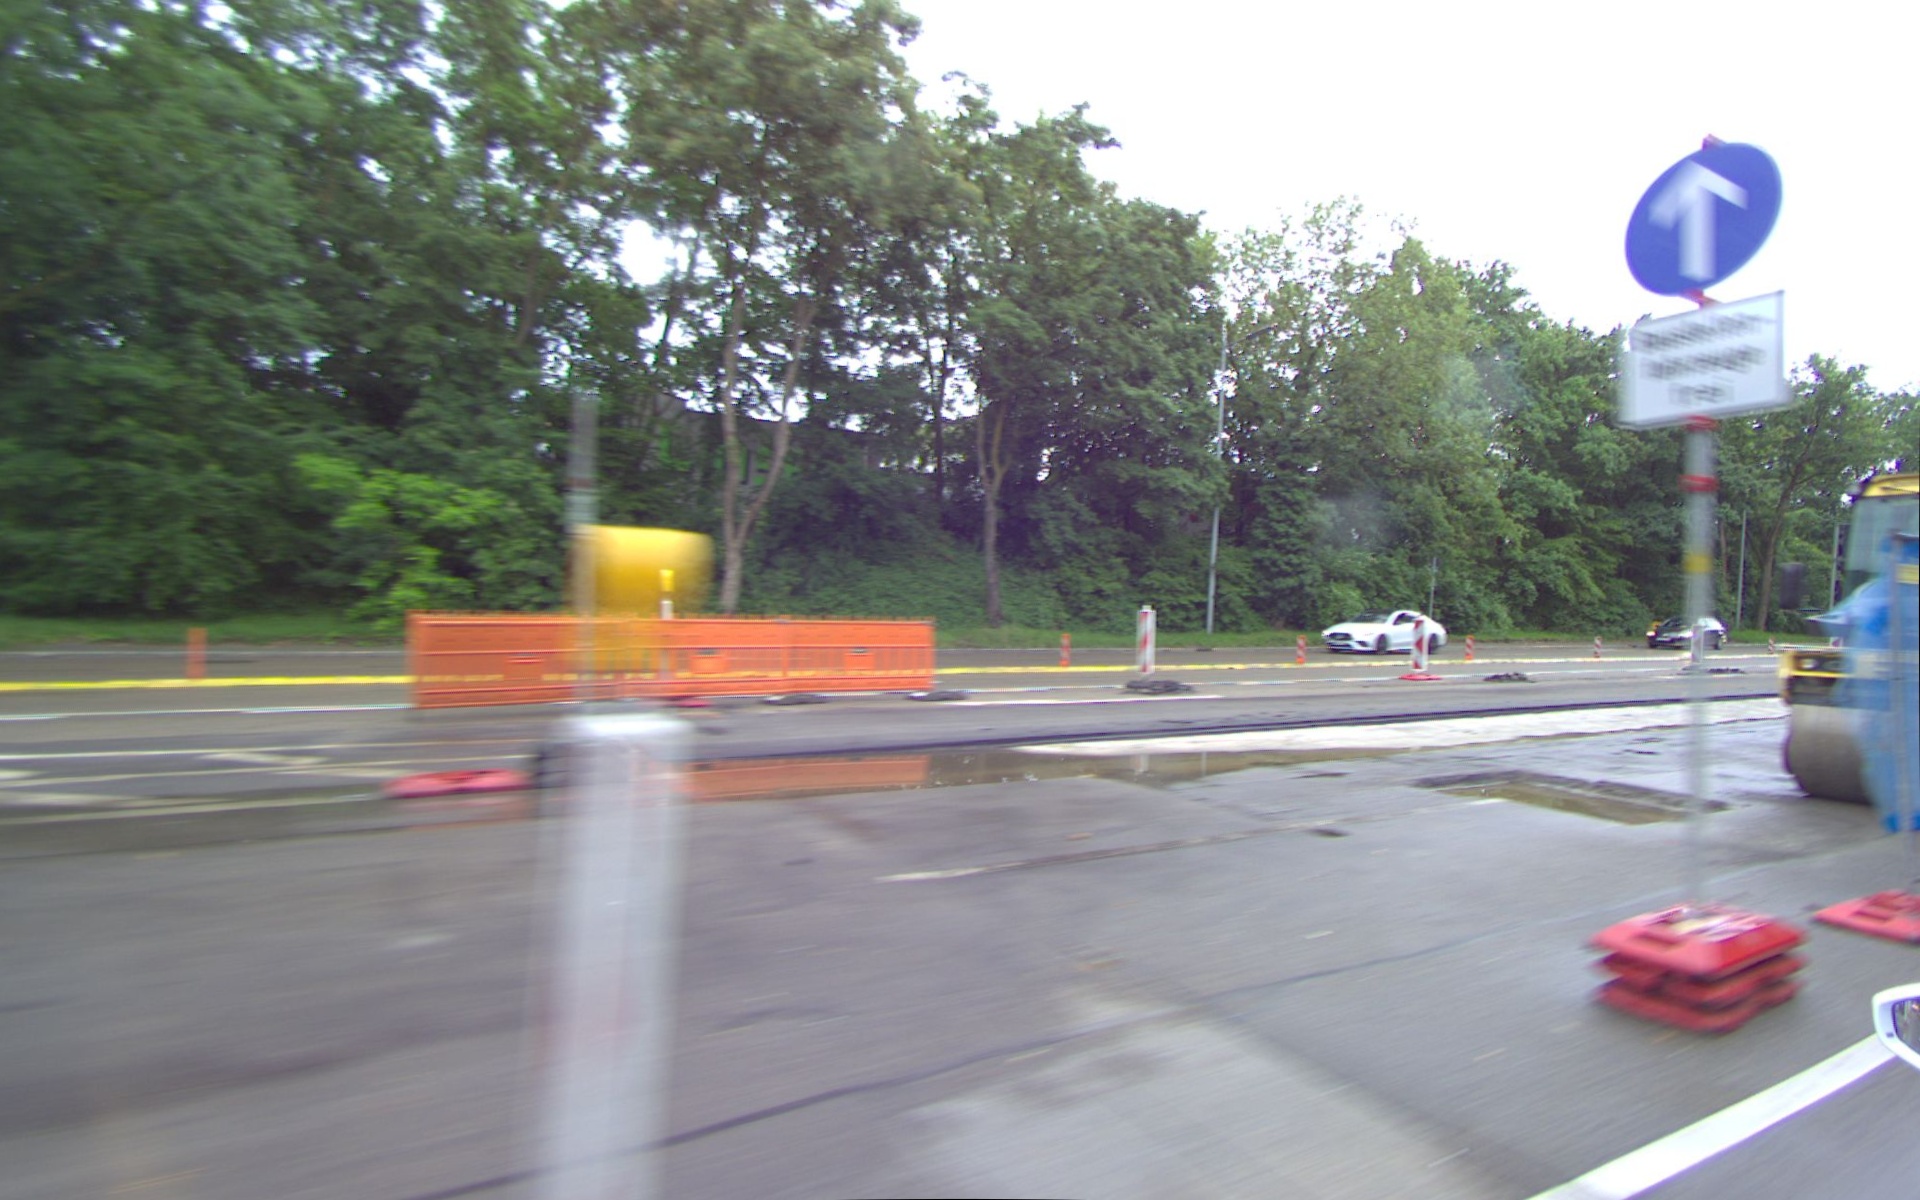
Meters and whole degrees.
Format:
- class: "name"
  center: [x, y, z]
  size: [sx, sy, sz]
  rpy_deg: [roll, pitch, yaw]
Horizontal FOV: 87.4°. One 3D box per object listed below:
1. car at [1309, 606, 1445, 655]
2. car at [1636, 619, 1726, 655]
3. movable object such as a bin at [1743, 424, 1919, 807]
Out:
- class: "car"
  center: [13.390, 0.960, 32.208]
  size: [4.419, 1.445, 1.774]
  rpy_deg: [1, 0, -32]
- class: "car"
  center: [32.240, 1.652, 44.879]
  size: [4.632, 1.472, 1.773]
  rpy_deg: [1, 0, -34]
- class: "movable object such as a bin"
  center: [9.670, 0.174, 9.485]
  size: [5.185, 3.025, 1.794]
  rpy_deg: [1, 0, -31]
